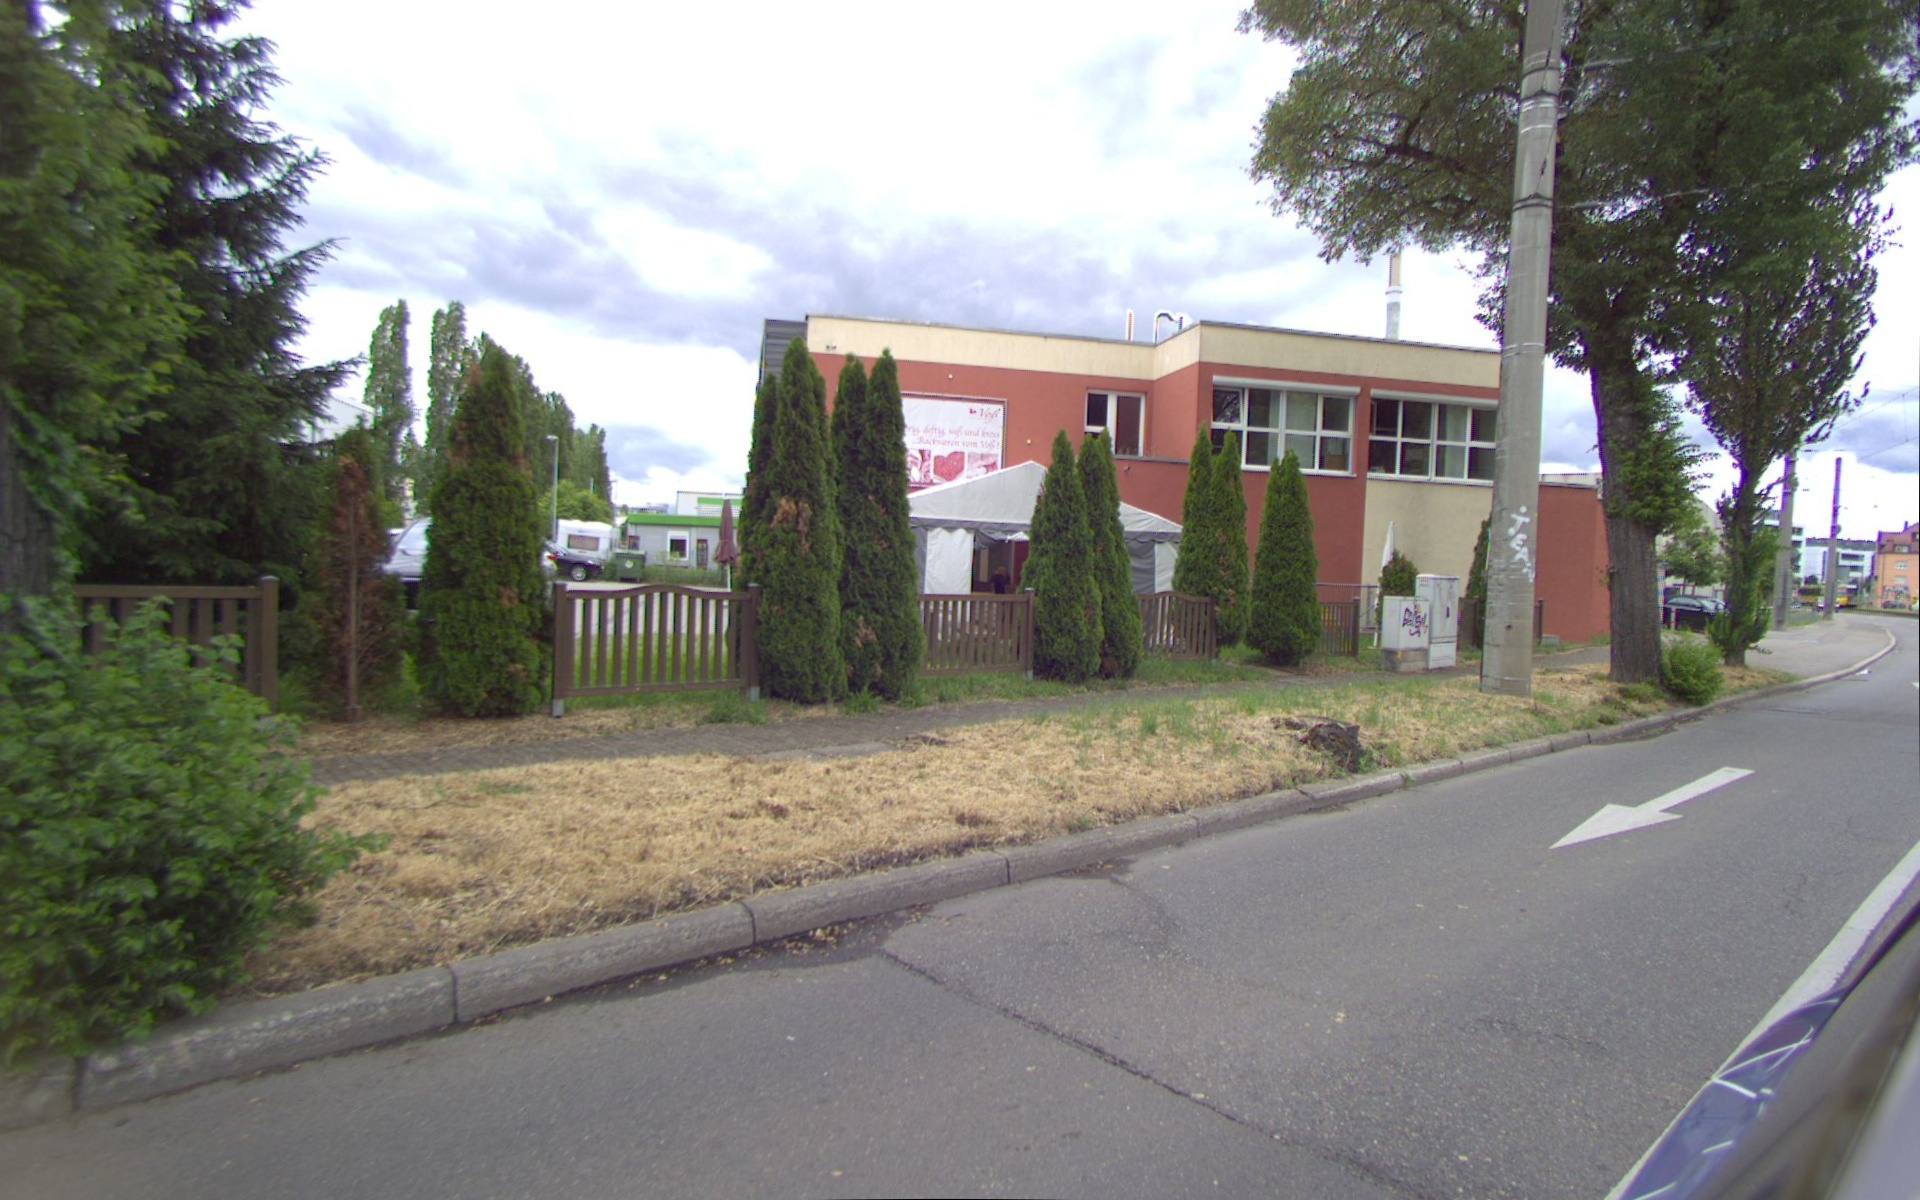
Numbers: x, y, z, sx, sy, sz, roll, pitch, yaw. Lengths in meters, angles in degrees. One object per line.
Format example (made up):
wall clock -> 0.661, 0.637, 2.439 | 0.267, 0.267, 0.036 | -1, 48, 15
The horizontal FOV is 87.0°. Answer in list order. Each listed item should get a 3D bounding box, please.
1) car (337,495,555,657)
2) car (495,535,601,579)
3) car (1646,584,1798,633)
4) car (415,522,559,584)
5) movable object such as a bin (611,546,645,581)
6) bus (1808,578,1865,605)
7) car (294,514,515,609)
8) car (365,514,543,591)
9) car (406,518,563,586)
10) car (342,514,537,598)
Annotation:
car -> -6.439, -0.328, 13.185 | 1.958, 1.727, 4.387 | 1, 2, -20
car -> -17.090, -1.784, 42.139 | 3.915, 1.682, 1.913 | 1, 2, -18
car -> 28.680, 0.285, 38.267 | 1.726, 1.460, 4.246 | 2, 4, -19
car -> -15.549, -1.523, 33.351 | 3.928, 1.860, 1.999 | 0, 2, -39
movable object such as a bin -> -14.538, -1.617, 44.319 | 1.337, 1.458, 1.530 | 1, 2, -16
bus -> 139.745, -1.424, 161.581 | 3.519, 4.001, 10.421 | 1, 2, 21
car -> -12.025, -0.796, 21.995 | 3.928, 1.860, 1.999 | 0, 2, -39
car -> -13.578, -1.245, 27.233 | 3.928, 1.860, 1.999 | 0, 2, -39
car -> -14.393, -1.429, 30.697 | 3.928, 1.860, 1.999 | 0, 2, -39
car -> -12.696, -1.028, 24.766 | 3.928, 1.860, 1.999 | 0, 2, -39
